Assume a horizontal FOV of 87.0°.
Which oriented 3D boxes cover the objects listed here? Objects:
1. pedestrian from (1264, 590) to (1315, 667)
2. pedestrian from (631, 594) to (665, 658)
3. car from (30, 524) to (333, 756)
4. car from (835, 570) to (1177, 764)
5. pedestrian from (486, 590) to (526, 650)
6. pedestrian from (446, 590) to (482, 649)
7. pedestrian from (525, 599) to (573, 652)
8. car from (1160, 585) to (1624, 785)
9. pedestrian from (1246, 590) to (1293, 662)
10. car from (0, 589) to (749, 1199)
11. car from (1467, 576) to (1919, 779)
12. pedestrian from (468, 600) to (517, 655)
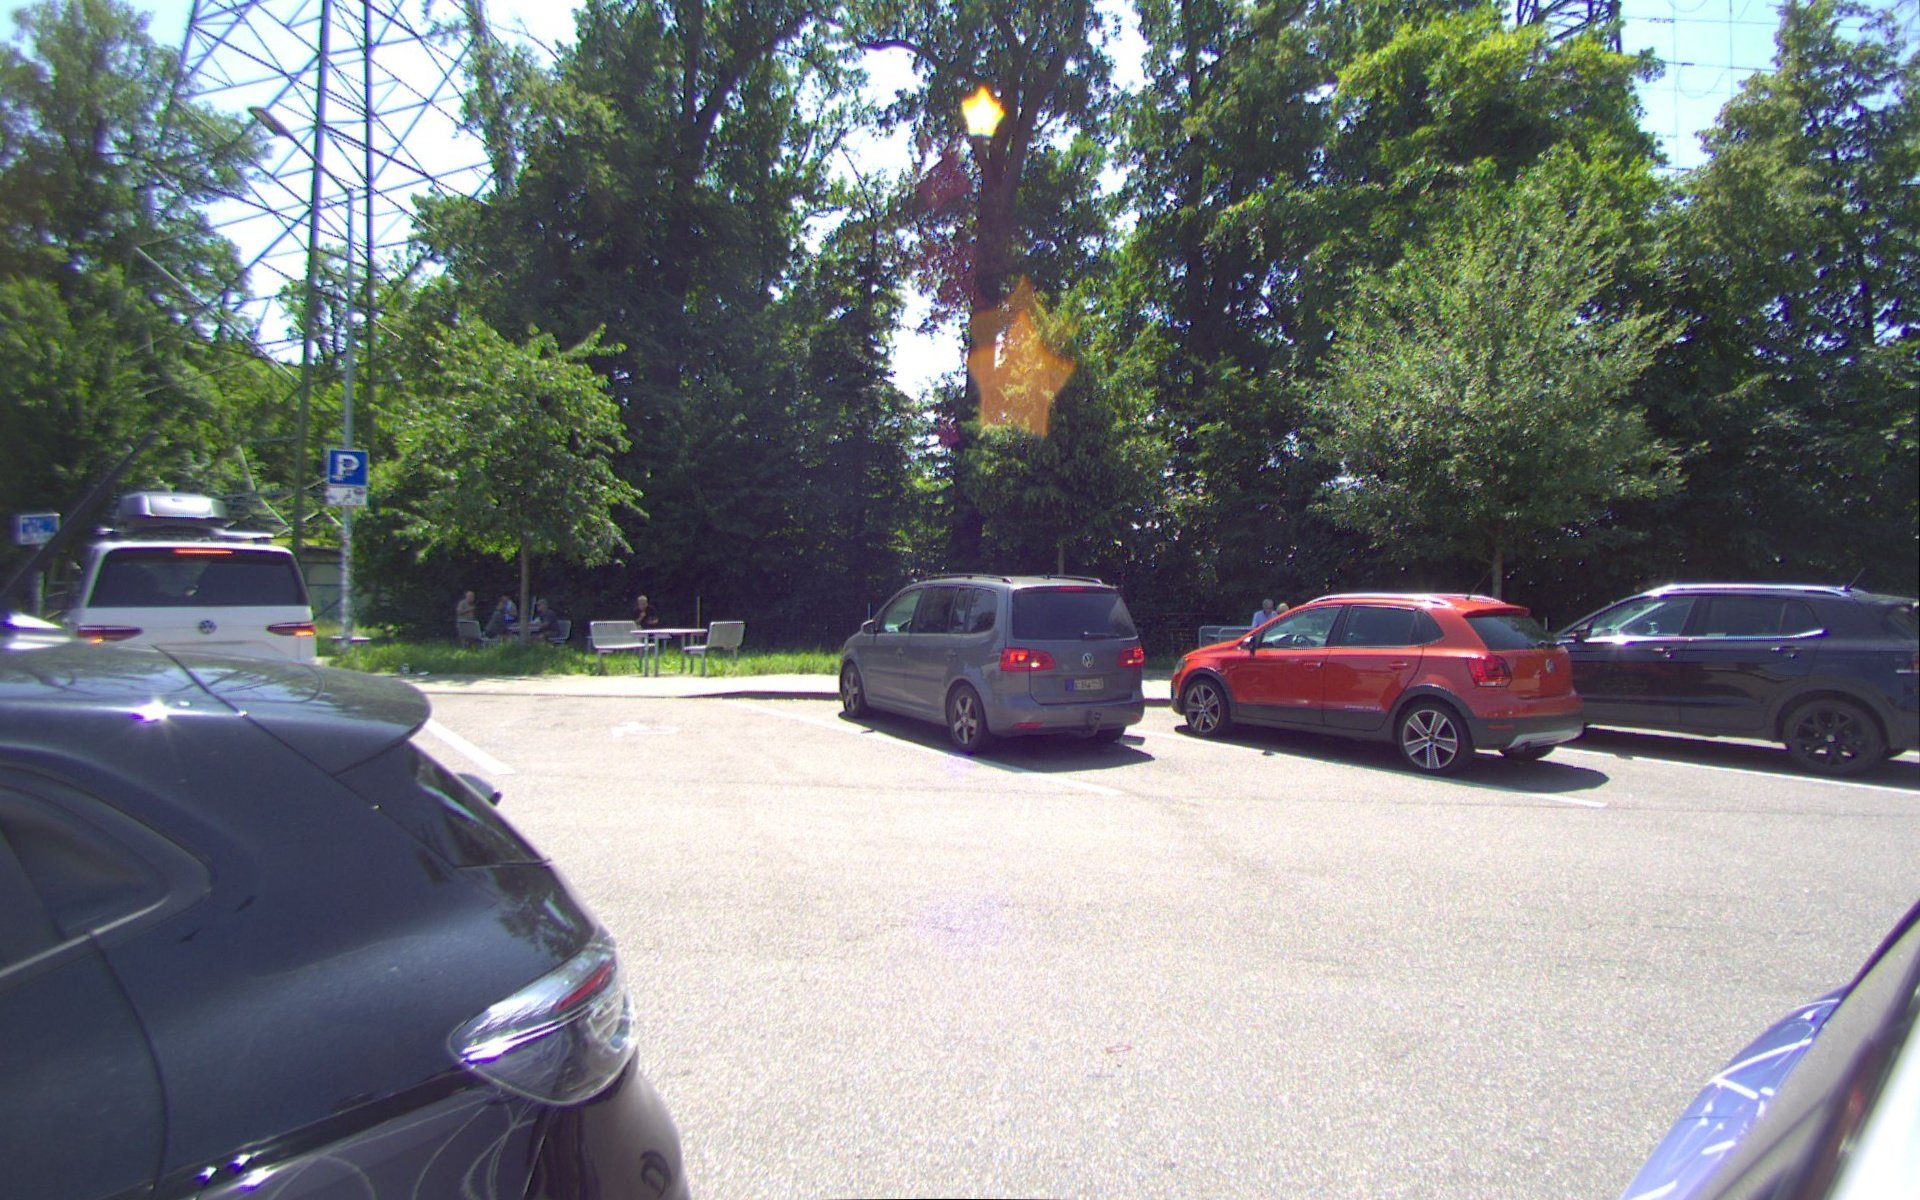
[{"bbox_3d":[5.778,0.489,17.771,0.657,1.311,0.783,0,0,3],"label":"pedestrian"},{"bbox_3d":[-6.549,0.528,21.279,0.655,1.311,0.786,0,0,-16],"label":"pedestrian"},{"bbox_3d":[-8.359,0.290,10.691,4.549,1.936,1.882,1,1,44],"label":"car"},{"bbox_3d":[0.250,0.519,10.517,1.713,1.601,3.996,0,1,-29],"label":"car"},{"bbox_3d":[-11.011,0.468,24.552,0.664,1.422,0.643,0,0,32],"label":"pedestrian"},{"bbox_3d":[-12.164,0.473,24.818,0.657,1.422,0.649,0,0,-39],"label":"pedestrian"},{"bbox_3d":[-9.603,0.584,23.624,0.873,1.192,0.668,0,0,-41],"label":"pedestrian"},{"bbox_3d":[3.851,0.611,9.647,1.687,1.484,3.793,0,1,-32],"label":"car"},{"bbox_3d":[5.783,0.479,18.961,0.657,1.311,0.783,0,0,3],"label":"pedestrian"},{"bbox_3d":[-2.207,0.720,0.598,1.737,1.501,3.757,0,-1,44],"label":"car"},{"bbox_3d":[7.177,0.575,9.706,1.690,1.593,3.787,0,1,-39],"label":"car"},{"bbox_3d":[-10.519,0.597,22.770,0.873,1.192,0.668,0,0,-41],"label":"pedestrian"}]
